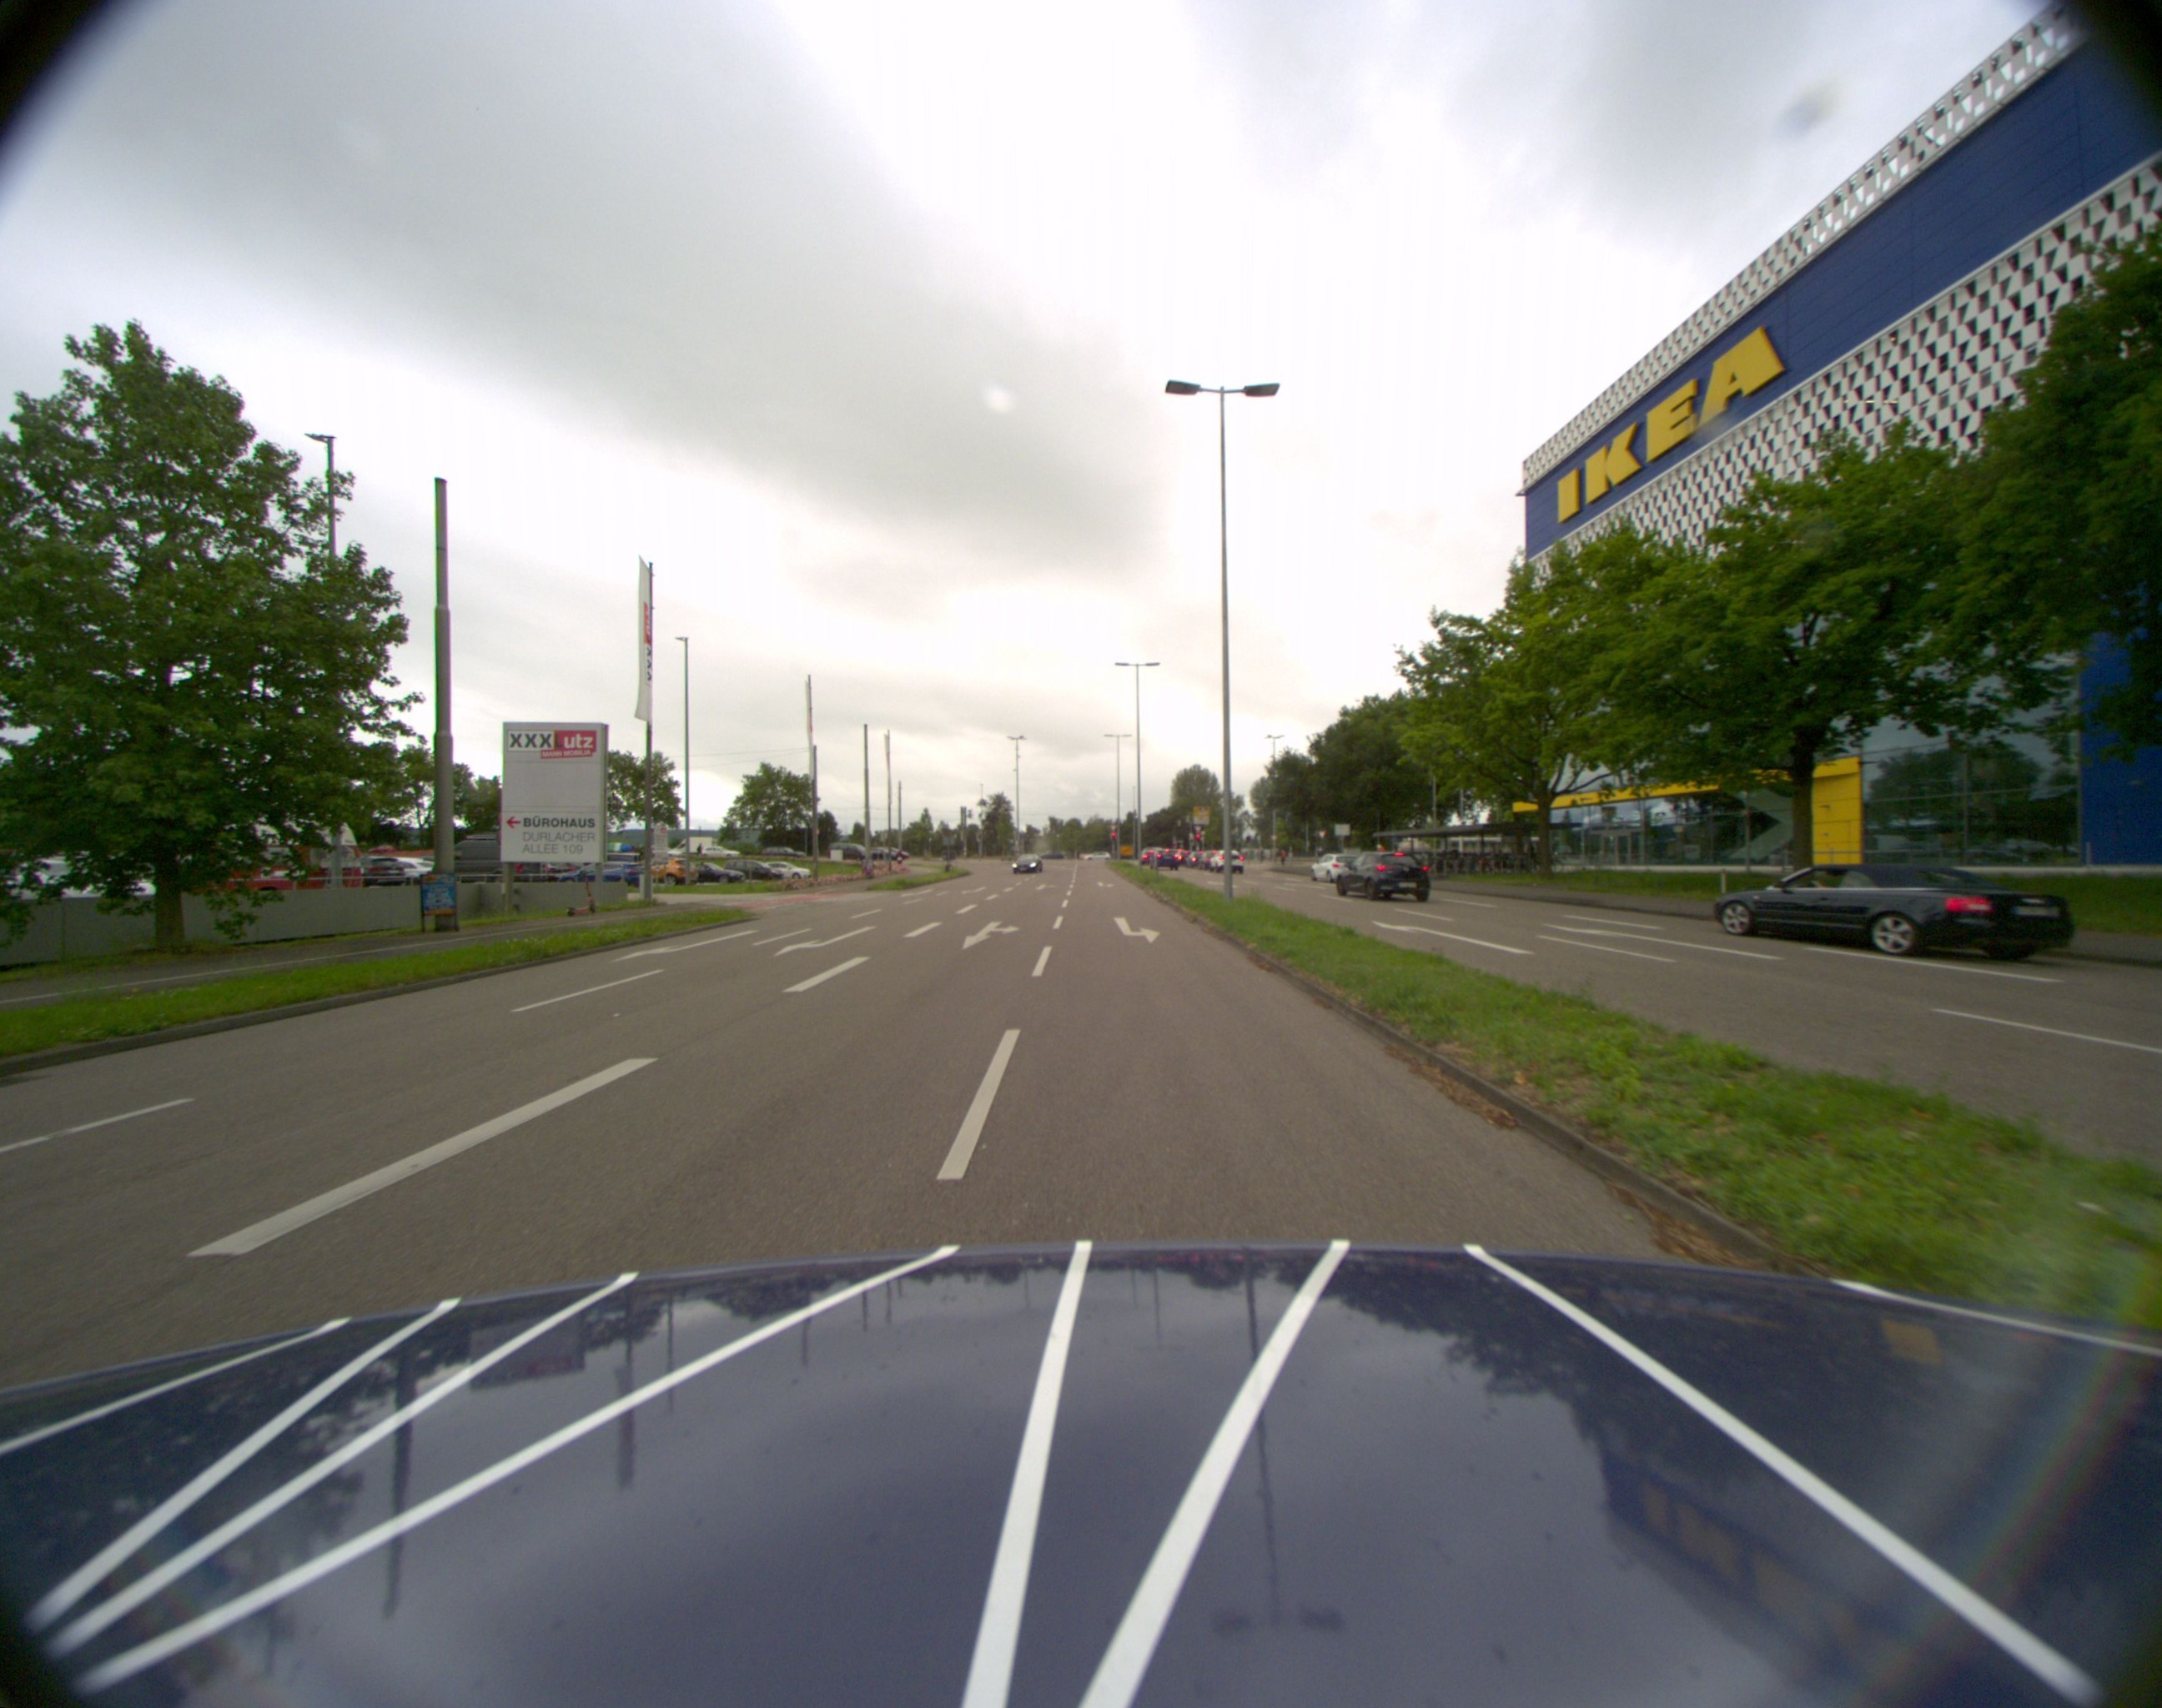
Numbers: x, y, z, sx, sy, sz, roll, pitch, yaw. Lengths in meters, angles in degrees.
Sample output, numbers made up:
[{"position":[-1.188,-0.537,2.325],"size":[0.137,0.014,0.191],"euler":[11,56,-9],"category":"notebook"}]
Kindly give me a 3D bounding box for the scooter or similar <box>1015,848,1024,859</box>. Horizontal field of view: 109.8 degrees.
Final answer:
[{"position":[-7.139,-0.076,88.031],"size":[1.016,1.249,0.465],"euler":[1,2,14],"category":"scooter or similar"}]

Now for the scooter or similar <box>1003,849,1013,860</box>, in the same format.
[{"position":[-8.383,0.023,87.764],"size":[1.113,1.249,0.321],"euler":[1,3,13],"category":"scooter or similar"}]

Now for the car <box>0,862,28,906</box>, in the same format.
[{"position":[-38.072,1.018,25.126],"size":[4.249,1.460,1.740],"euler":[-1,-2,2],"category":"car"}]

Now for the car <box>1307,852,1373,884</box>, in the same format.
[{"position":[13.074,0.669,38.574],"size":[1.871,1.446,4.167],"euler":[2,1,0],"category":"car"}]

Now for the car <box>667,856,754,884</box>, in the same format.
[{"position":[-22.824,0.952,46.985],"size":[4.542,1.574,1.767],"euler":[-1,2,-12],"category":"car"}]

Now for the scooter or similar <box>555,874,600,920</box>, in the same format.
[{"position":[-13.678,1.156,20.662],"size":[0.371,1.184,1.248],"euler":[0,0,1],"category":"scooter or similar"}]

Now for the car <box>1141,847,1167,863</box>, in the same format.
[{"position":[6.855,0.109,71.991],"size":[1.888,1.428,4.430],"euler":[1,1,-1],"category":"car"}]

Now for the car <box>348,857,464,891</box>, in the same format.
[{"position":[-33.016,0.961,37.247],"size":[3.996,1.543,1.863],"euler":[-1,1,2],"category":"car"}]

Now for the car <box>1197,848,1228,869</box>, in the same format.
[{"position":[10.078,0.347,58.349],"size":[1.606,1.489,4.036],"euler":[1,1,0],"category":"car"}]

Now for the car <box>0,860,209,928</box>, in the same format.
[{"position":[-23.264,0.913,17.417],"size":[4.384,1.452,1.962],"euler":[-1,-2,2],"category":"car"}]

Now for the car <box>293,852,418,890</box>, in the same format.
[{"position":[-33.059,0.749,34.684],"size":[3.901,1.644,1.831],"euler":[1,0,-1],"category":"car"}]

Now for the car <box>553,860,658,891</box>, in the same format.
[{"position":[-23.241,1.034,37.221],"size":[3.996,1.447,1.814],"euler":[-1,1,2],"category":"car"}]

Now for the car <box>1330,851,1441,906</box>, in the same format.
[{"position":[9.324,0.688,23.598],"size":[1.762,1.445,3.999],"euler":[1,1,-1],"category":"car"}]

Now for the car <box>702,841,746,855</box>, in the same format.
[{"position":[-39.776,-0.633,84.714],"size":[4.043,1.529,1.734],"euler":[0,-1,0],"category":"car"}]

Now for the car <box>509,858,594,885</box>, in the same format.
[{"position":[-33.060,1.086,47.502],"size":[3.995,1.546,1.948],"euler":[-1,1,7],"category":"car"}]

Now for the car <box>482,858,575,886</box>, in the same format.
[{"position":[-32.725,1.055,45.086],"size":[3.996,1.559,2.000],"euler":[-1,1,1],"category":"car"}]

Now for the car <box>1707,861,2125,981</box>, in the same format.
[{"position":[12.733,0.899,12.140],"size":[1.776,1.443,4.404],"euler":[1,1,-1],"category":"car"}]

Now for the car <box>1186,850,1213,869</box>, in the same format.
[{"position":[10.013,0.425,64.648],"size":[1.606,1.436,4.142],"euler":[1,1,0],"category":"car"}]

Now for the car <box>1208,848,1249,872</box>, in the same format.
[{"position":[9.997,0.363,51.781],"size":[1.936,1.510,4.181],"euler":[0,2,0],"category":"car"}]

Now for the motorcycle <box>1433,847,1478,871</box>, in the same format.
[{"position":[23.361,0.309,47.396],"size":[2.500,1.347,0.799],"euler":[-3,1,-12],"category":"motorcycle"}]

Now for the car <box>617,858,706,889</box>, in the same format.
[{"position":[-23.211,1.052,42.121],"size":[3.995,1.634,1.816],"euler":[0,1,5],"category":"car"}]

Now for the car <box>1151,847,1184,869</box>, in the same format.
[{"position":[6.353,0.280,56.373],"size":[1.936,1.477,4.438],"euler":[1,1,0],"category":"car"}]

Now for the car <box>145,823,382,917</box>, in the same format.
[{"position":[-23.895,0.490,22.351],"size":[4.734,2.563,2.171],"euler":[-1,-1,2],"category":"car"}]

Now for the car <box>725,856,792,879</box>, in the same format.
[{"position":[-23.196,0.973,54.767],"size":[4.103,1.574,1.769],"euler":[-1,-1,-3],"category":"car"}]

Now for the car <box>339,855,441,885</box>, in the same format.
[{"position":[-38.395,0.891,42.288],"size":[3.996,1.547,1.855],"euler":[-1,1,2],"category":"car"}]

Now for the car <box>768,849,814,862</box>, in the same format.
[{"position":[-32.306,0.158,84.615],"size":[4.316,1.455,1.970],"euler":[1,0,6],"category":"car"}]

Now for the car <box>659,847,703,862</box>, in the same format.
[{"position":[-44.696,0.022,84.945],"size":[4.073,1.592,1.747],"euler":[-1,-1,-2],"category":"car"}]

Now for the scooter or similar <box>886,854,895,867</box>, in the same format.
[{"position":[-17.863,0.617,71.241],"size":[0.347,1.226,1.162],"euler":[-3,3,-37],"category":"scooter or similar"}]

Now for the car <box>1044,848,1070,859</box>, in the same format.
[{"position":[-3.563,-0.104,112.927],"size":[3.825,1.502,1.724],"euler":[-1,-2,-4],"category":"car"}]

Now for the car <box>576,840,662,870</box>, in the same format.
[{"position":[-33.255,0.060,54.765],"size":[5.046,2.153,2.123],"euler":[0,1,6],"category":"car"}]

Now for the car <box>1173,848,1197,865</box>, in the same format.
[{"position":[9.649,0.223,71.003],"size":[1.666,1.494,4.064],"euler":[-1,0,0],"category":"car"}]

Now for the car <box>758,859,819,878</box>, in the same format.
[{"position":[-23.133,1.189,60.246],"size":[4.117,1.437,1.876],"euler":[-1,-2,-1],"category":"car"}]
